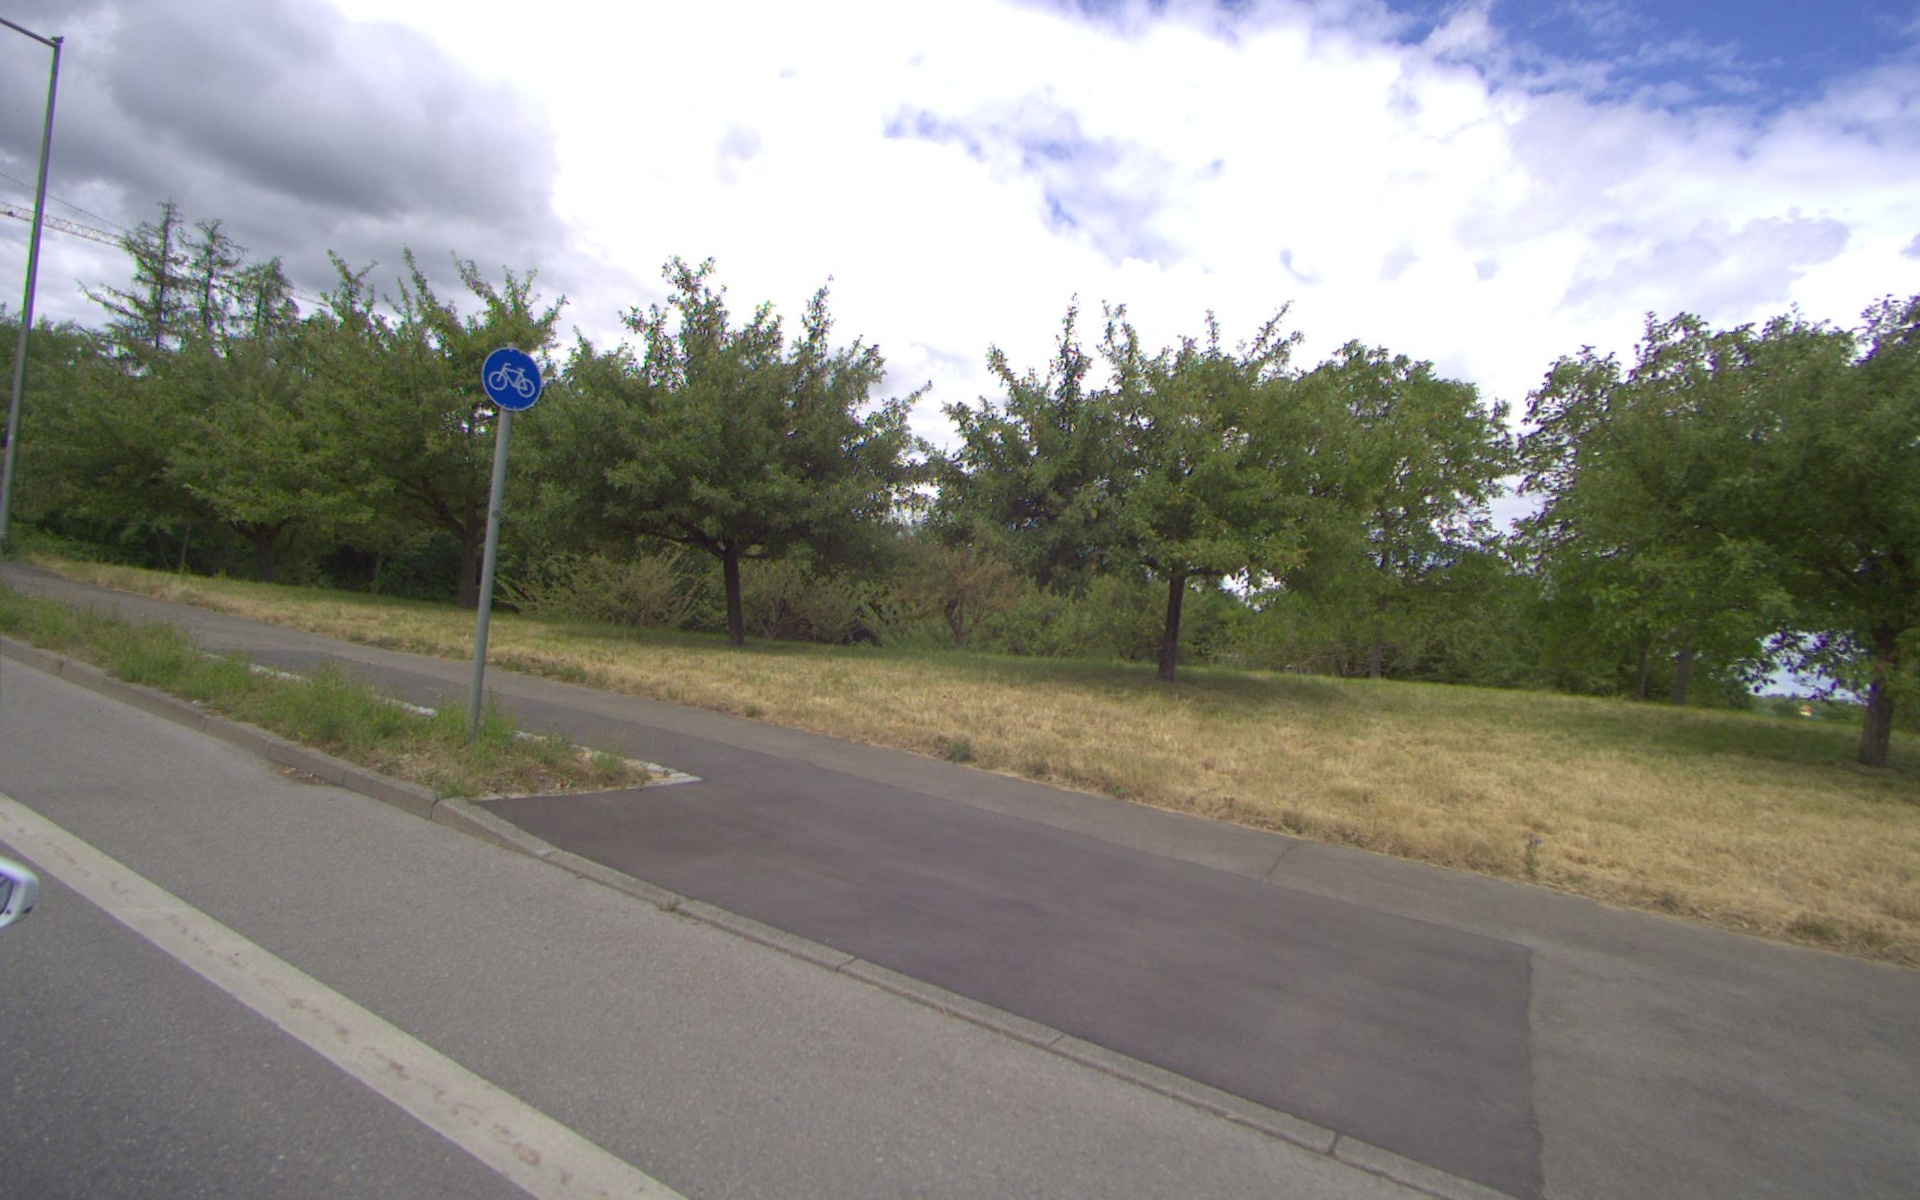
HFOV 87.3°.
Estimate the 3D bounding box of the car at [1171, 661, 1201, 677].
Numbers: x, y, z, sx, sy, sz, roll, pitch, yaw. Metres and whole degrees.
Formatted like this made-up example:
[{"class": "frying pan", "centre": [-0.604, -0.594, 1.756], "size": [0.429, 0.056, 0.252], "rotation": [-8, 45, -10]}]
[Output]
[{"class": "car", "centre": [25.192, 7.695, 112.031], "size": [1.656, 1.560, 4.055], "rotation": [8, 2, 37]}]
